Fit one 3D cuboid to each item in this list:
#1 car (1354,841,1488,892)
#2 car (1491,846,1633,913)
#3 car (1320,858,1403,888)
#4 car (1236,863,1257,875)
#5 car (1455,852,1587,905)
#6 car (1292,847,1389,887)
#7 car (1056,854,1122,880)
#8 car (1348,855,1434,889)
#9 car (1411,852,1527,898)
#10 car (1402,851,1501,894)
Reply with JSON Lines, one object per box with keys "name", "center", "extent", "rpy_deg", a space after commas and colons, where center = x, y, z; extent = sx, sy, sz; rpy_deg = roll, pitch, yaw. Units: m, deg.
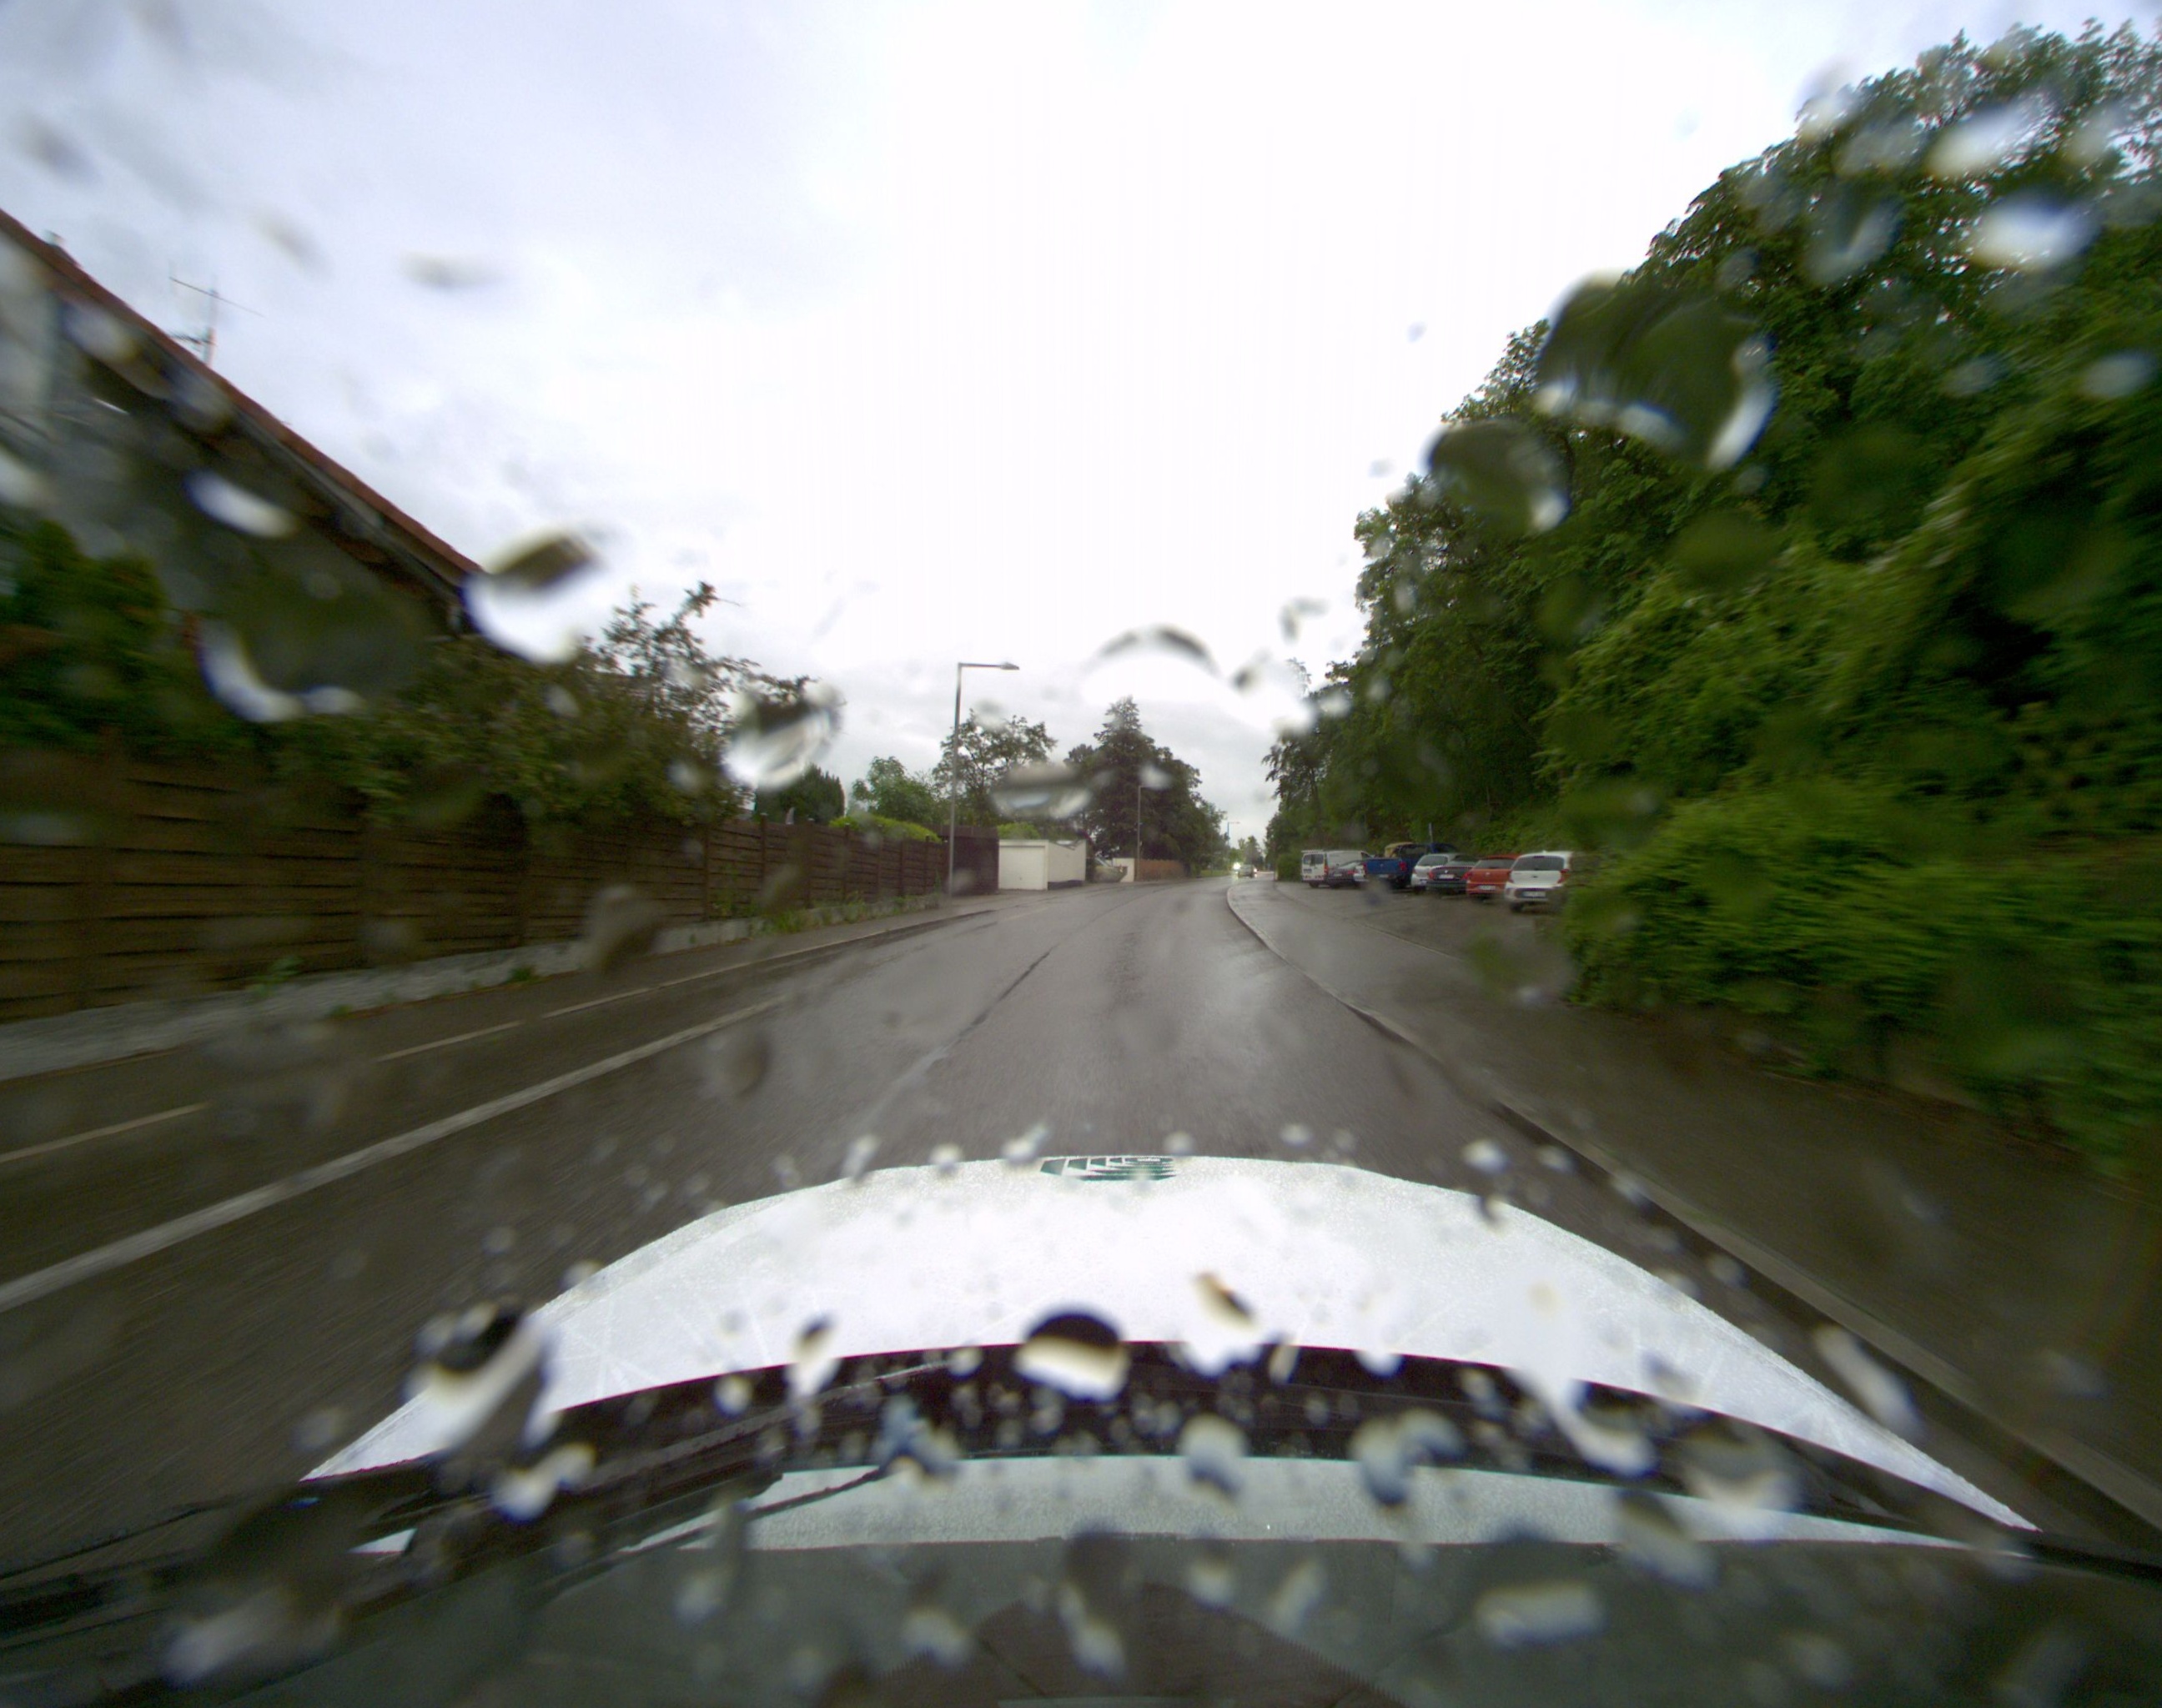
{"name": "car", "center": [14.041, 0.480, 33.529], "extent": [5.499, 1.969, 2.308], "rpy_deg": [0, -1, -31]}
{"name": "car", "center": [12.320, 0.600, 20.797], "extent": [3.812, 1.480, 1.733], "rpy_deg": [-2, -1, -36]}
{"name": "car", "center": [13.440, 0.886, 39.009], "extent": [3.810, 1.348, 1.744], "rpy_deg": [-1, -1, -33]}
{"name": "car", "center": [20.388, 1.846, 100.215], "extent": [1.818, 1.512, 4.641], "rpy_deg": [-1, -1, 21]}
{"name": "car", "center": [12.949, 0.694, 23.925], "extent": [3.808, 1.402, 1.700], "rpy_deg": [-1, -1, -32]}
{"name": "car", "center": [13.527, 0.646, 42.357], "extent": [4.859, 1.940, 2.135], "rpy_deg": [-1, -1, -32]}
{"name": "car", "center": [0.588, 1.002, 61.082], "extent": [4.467, 1.860, 2.099], "rpy_deg": [-1, -1, 18]}
{"name": "car", "center": [14.012, 0.776, 36.706], "extent": [4.010, 1.413, 1.609], "rpy_deg": [-1, -1, -34]}
{"name": "car", "center": [12.987, 0.660, 27.188], "extent": [3.857, 1.402, 1.700], "rpy_deg": [-1, -1, -33]}
{"name": "car", "center": [13.984, 0.657, 30.669], "extent": [3.928, 1.486, 1.601], "rpy_deg": [-1, -1, -35]}
